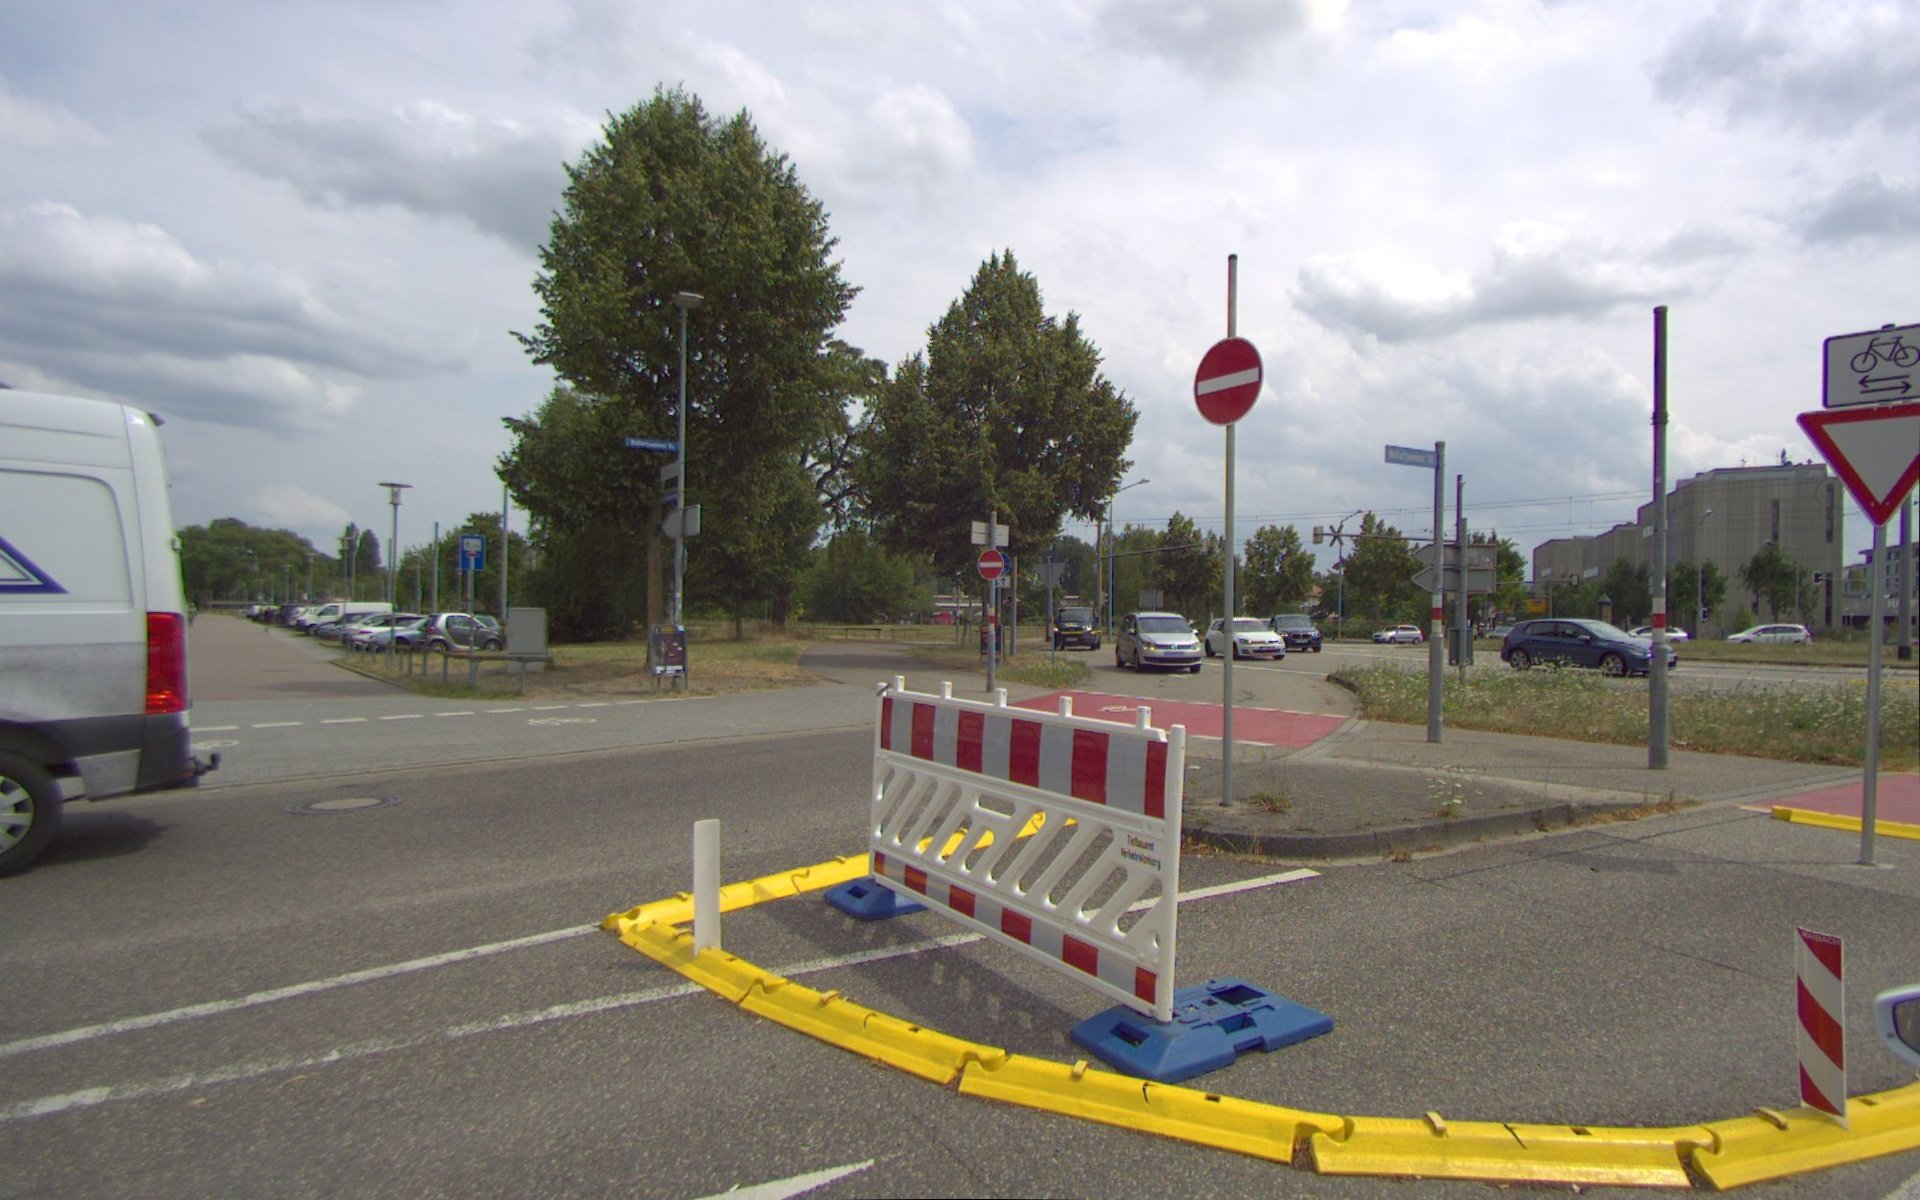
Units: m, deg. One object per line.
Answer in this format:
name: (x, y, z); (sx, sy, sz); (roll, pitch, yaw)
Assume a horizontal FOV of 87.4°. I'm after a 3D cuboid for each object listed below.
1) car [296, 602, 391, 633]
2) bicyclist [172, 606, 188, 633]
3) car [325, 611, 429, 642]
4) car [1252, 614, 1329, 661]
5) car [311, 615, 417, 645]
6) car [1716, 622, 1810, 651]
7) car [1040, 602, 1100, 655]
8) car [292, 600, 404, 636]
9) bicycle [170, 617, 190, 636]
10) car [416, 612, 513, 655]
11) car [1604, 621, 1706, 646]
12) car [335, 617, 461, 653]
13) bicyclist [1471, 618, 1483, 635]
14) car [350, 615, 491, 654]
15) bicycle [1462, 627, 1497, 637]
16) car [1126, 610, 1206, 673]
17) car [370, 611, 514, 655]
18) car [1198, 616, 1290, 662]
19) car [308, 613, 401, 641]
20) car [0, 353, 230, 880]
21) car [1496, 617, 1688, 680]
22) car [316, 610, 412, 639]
car: (-43.427, 1.245, 70.805); (5.520, 2.083, 2.178); (2, -1, -38)
bicyclist: (-43.559, 1.088, 56.085); (0.595, 1.442, 0.797); (1, -1, -30)
car: (-29.216, 1.344, 50.386); (4.348, 1.491, 1.813); (2, -1, -38)
car: (14.181, 1.576, 43.383); (1.756, 1.884, 4.252); (1, -1, -3)
car: (-31.024, 1.551, 52.313); (4.563, 1.491, 1.813); (2, -1, -38)
car: (51.309, 2.308, 64.248); (4.267, 1.688, 1.939); (1, -1, 15)
car: (5.001, 1.280, 46.313); (1.961, 2.303, 5.159); (1, -1, -3)
car: (-36.864, 1.102, 60.596); (5.524, 2.083, 2.176); (2, -1, -40)
bicycle: (-43.575, 1.475, 56.108); (0.595, 1.060, 1.814); (1, -1, -30)
car: (-18.271, 1.218, 37.056); (2.896, 1.442, 1.464); (-1, 0, -44)
car: (45.547, 2.186, 65.938); (5.080, 1.502, 2.001); (1, -1, 16)
car: (-24.828, 1.542, 44.467); (4.667, 1.491, 1.813); (2, -1, -38)
bicyclist: (45.060, 2.285, 87.595); (0.660, 1.428, 0.865); (1, -1, 6)
car: (-21.893, 1.415, 40.882); (4.845, 1.491, 1.813); (2, -1, -38)
bicycle: (45.271, 2.773, 87.565); (2.605, 0.866, 0.865); (1, -1, 6)
car: (5.844, 1.144, 29.027); (1.765, 1.644, 4.750); (1, -1, 6)
car: (-20.005, 1.227, 38.884); (4.668, 1.491, 1.812); (-1, 1, -40)
car: (10.158, 1.351, 36.264); (1.768, 1.517, 4.256); (1, -1, -6)
car: (-34.013, 1.532, 56.478); (4.273, 1.491, 1.813); (2, -1, -38)
car: (-7.118, 0.032, 4.574); (5.927, 2.721, 2.045); (2, -1, -43)
car: (17.016, 1.261, 27.241); (1.779, 1.517, 4.087); (1, -1, -28)
car: (-32.321, 1.323, 54.500); (4.273, 1.491, 1.813); (2, -1, -38)
